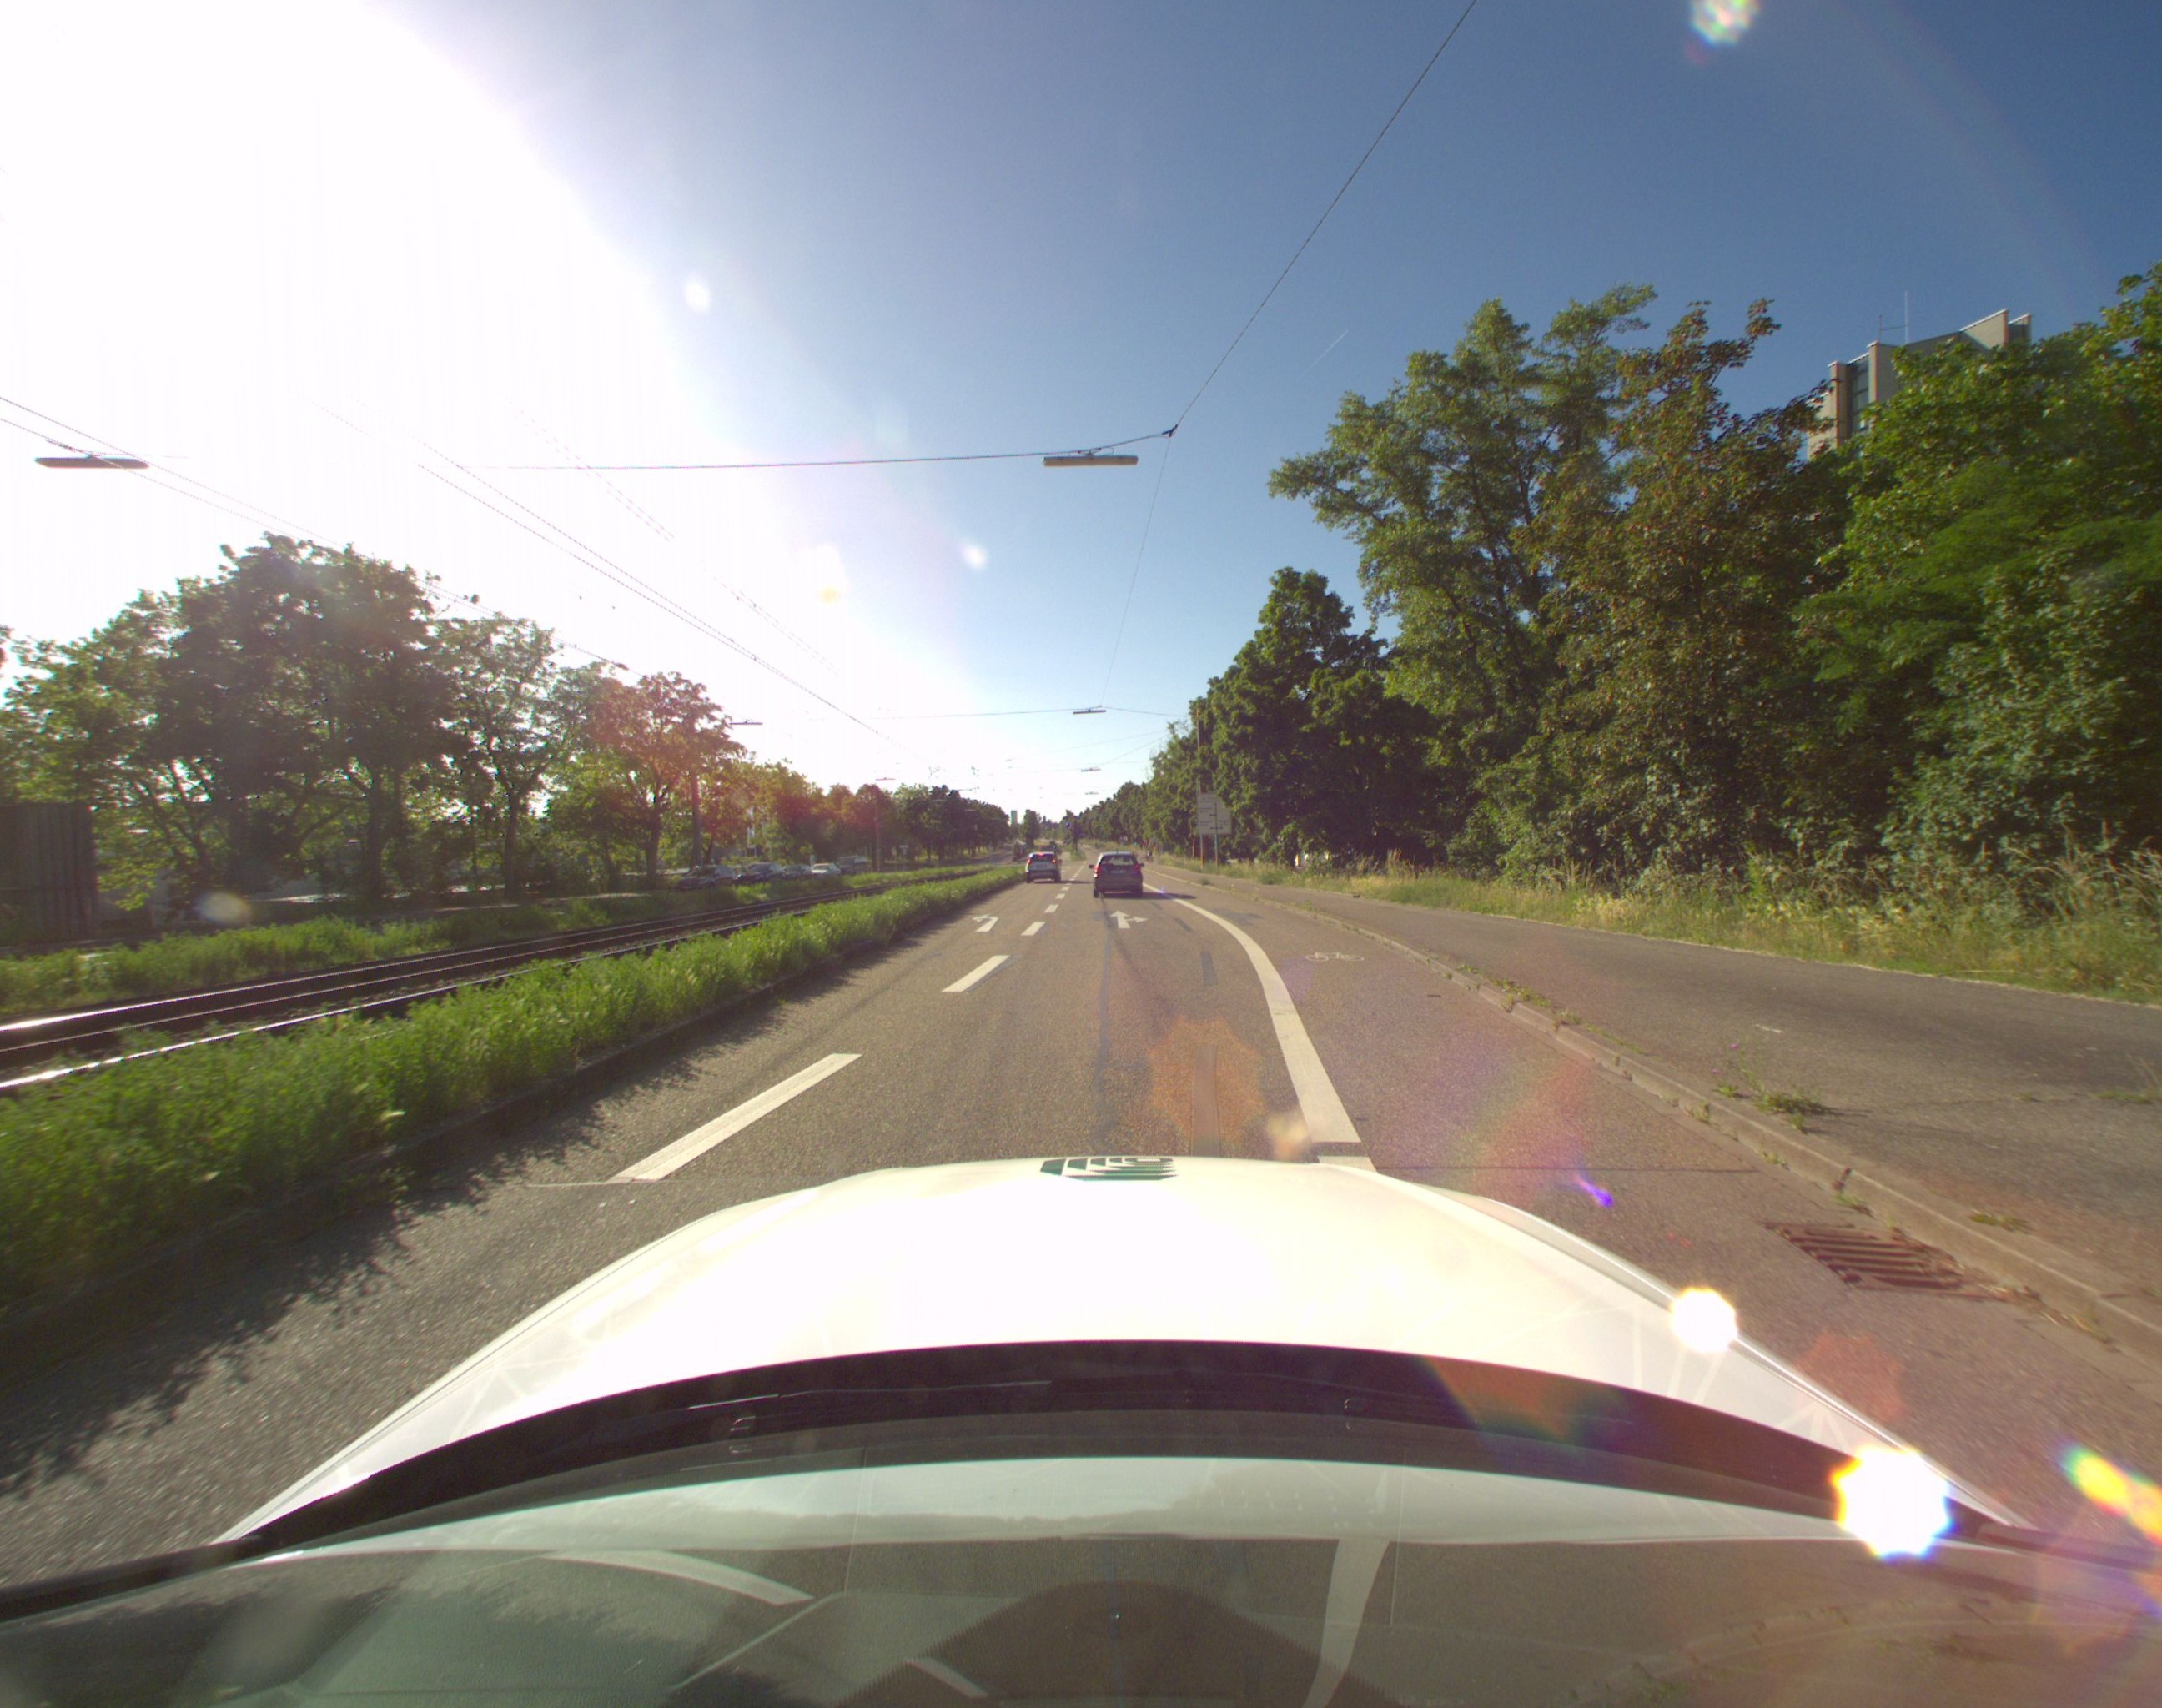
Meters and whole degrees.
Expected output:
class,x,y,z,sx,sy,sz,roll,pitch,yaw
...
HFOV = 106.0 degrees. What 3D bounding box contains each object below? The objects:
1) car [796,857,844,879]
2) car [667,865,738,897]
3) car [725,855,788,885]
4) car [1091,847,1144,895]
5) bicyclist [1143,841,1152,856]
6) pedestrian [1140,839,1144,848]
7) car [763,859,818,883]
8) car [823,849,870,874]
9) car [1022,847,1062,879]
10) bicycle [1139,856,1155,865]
class,x,y,z,sx,sy,sz,roll,pitch,yaw
car,-19.532,0.991,61.143,1.921,1.437,4.696,-2,1,1
car,-19.590,1.361,42.343,1.730,1.494,4.326,0,0,-1
car,-19.521,0.940,49.228,1.987,1.574,4.434,-2,1,-1
car,1.236,0.543,28.639,1.701,1.508,4.001,-1,1,1
bicyclist,8.336,-0.678,101.680,0.904,1.745,0.767,-3,0,12
pedestrian,11.451,-1.951,153.698,0.676,1.609,0.720,-1,0,-1
car,-19.515,1.122,54.825,1.986,1.437,4.416,-2,1,1
car,-19.355,0.554,67.512,2.188,1.891,4.795,-2,1,3
car,-2.063,0.446,43.677,1.844,1.606,4.255,-2,1,1
bicycle,8.226,0.823,101.716,1.907,0.997,0.767,-4,0,11
